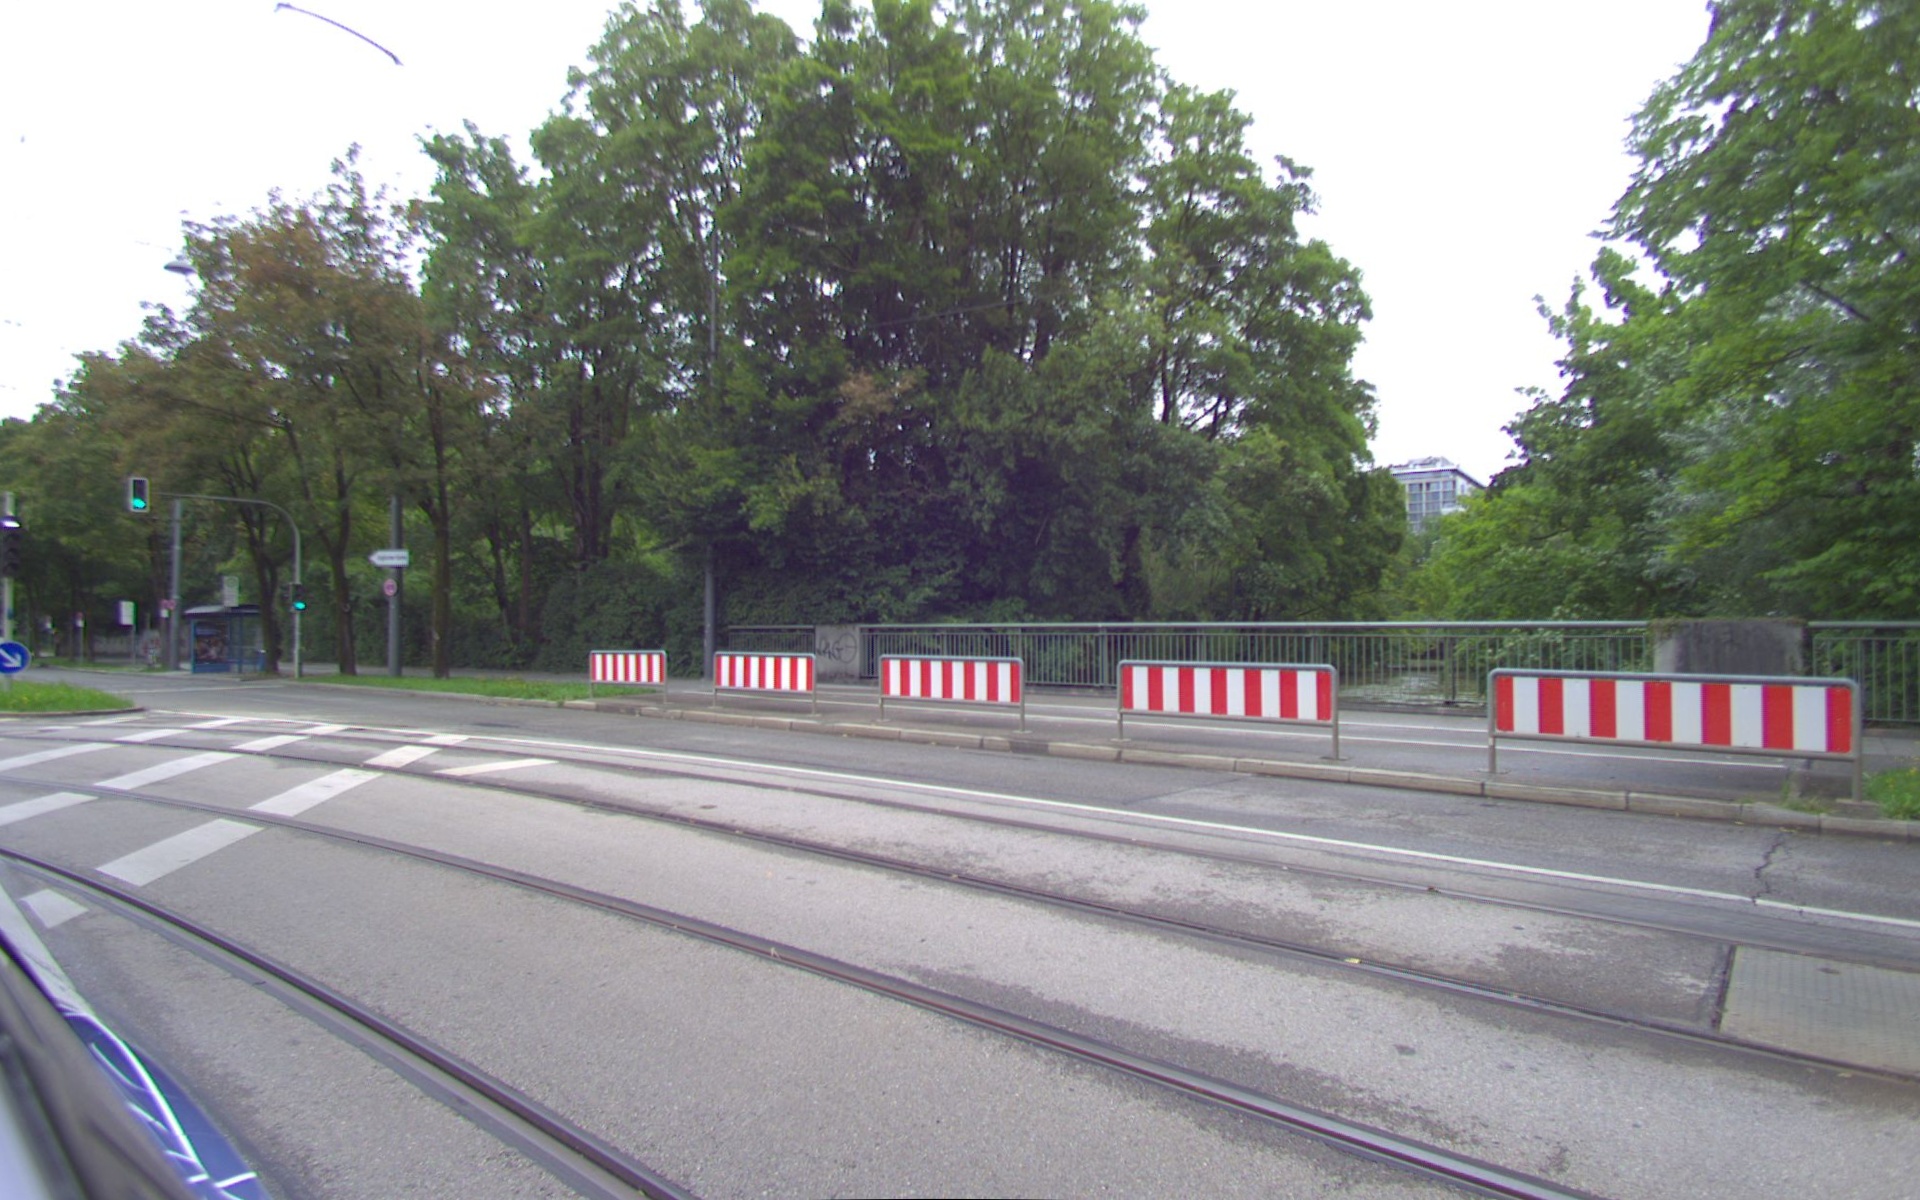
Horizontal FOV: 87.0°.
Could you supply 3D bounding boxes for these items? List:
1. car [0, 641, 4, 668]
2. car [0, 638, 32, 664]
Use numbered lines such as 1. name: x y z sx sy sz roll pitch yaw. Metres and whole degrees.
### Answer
1. car: -64.778 3.593 66.893 3.996 1.739 1.864 -1 0 40
2. car: -60.014 3.196 63.716 3.997 1.552 1.864 -1 0 40
